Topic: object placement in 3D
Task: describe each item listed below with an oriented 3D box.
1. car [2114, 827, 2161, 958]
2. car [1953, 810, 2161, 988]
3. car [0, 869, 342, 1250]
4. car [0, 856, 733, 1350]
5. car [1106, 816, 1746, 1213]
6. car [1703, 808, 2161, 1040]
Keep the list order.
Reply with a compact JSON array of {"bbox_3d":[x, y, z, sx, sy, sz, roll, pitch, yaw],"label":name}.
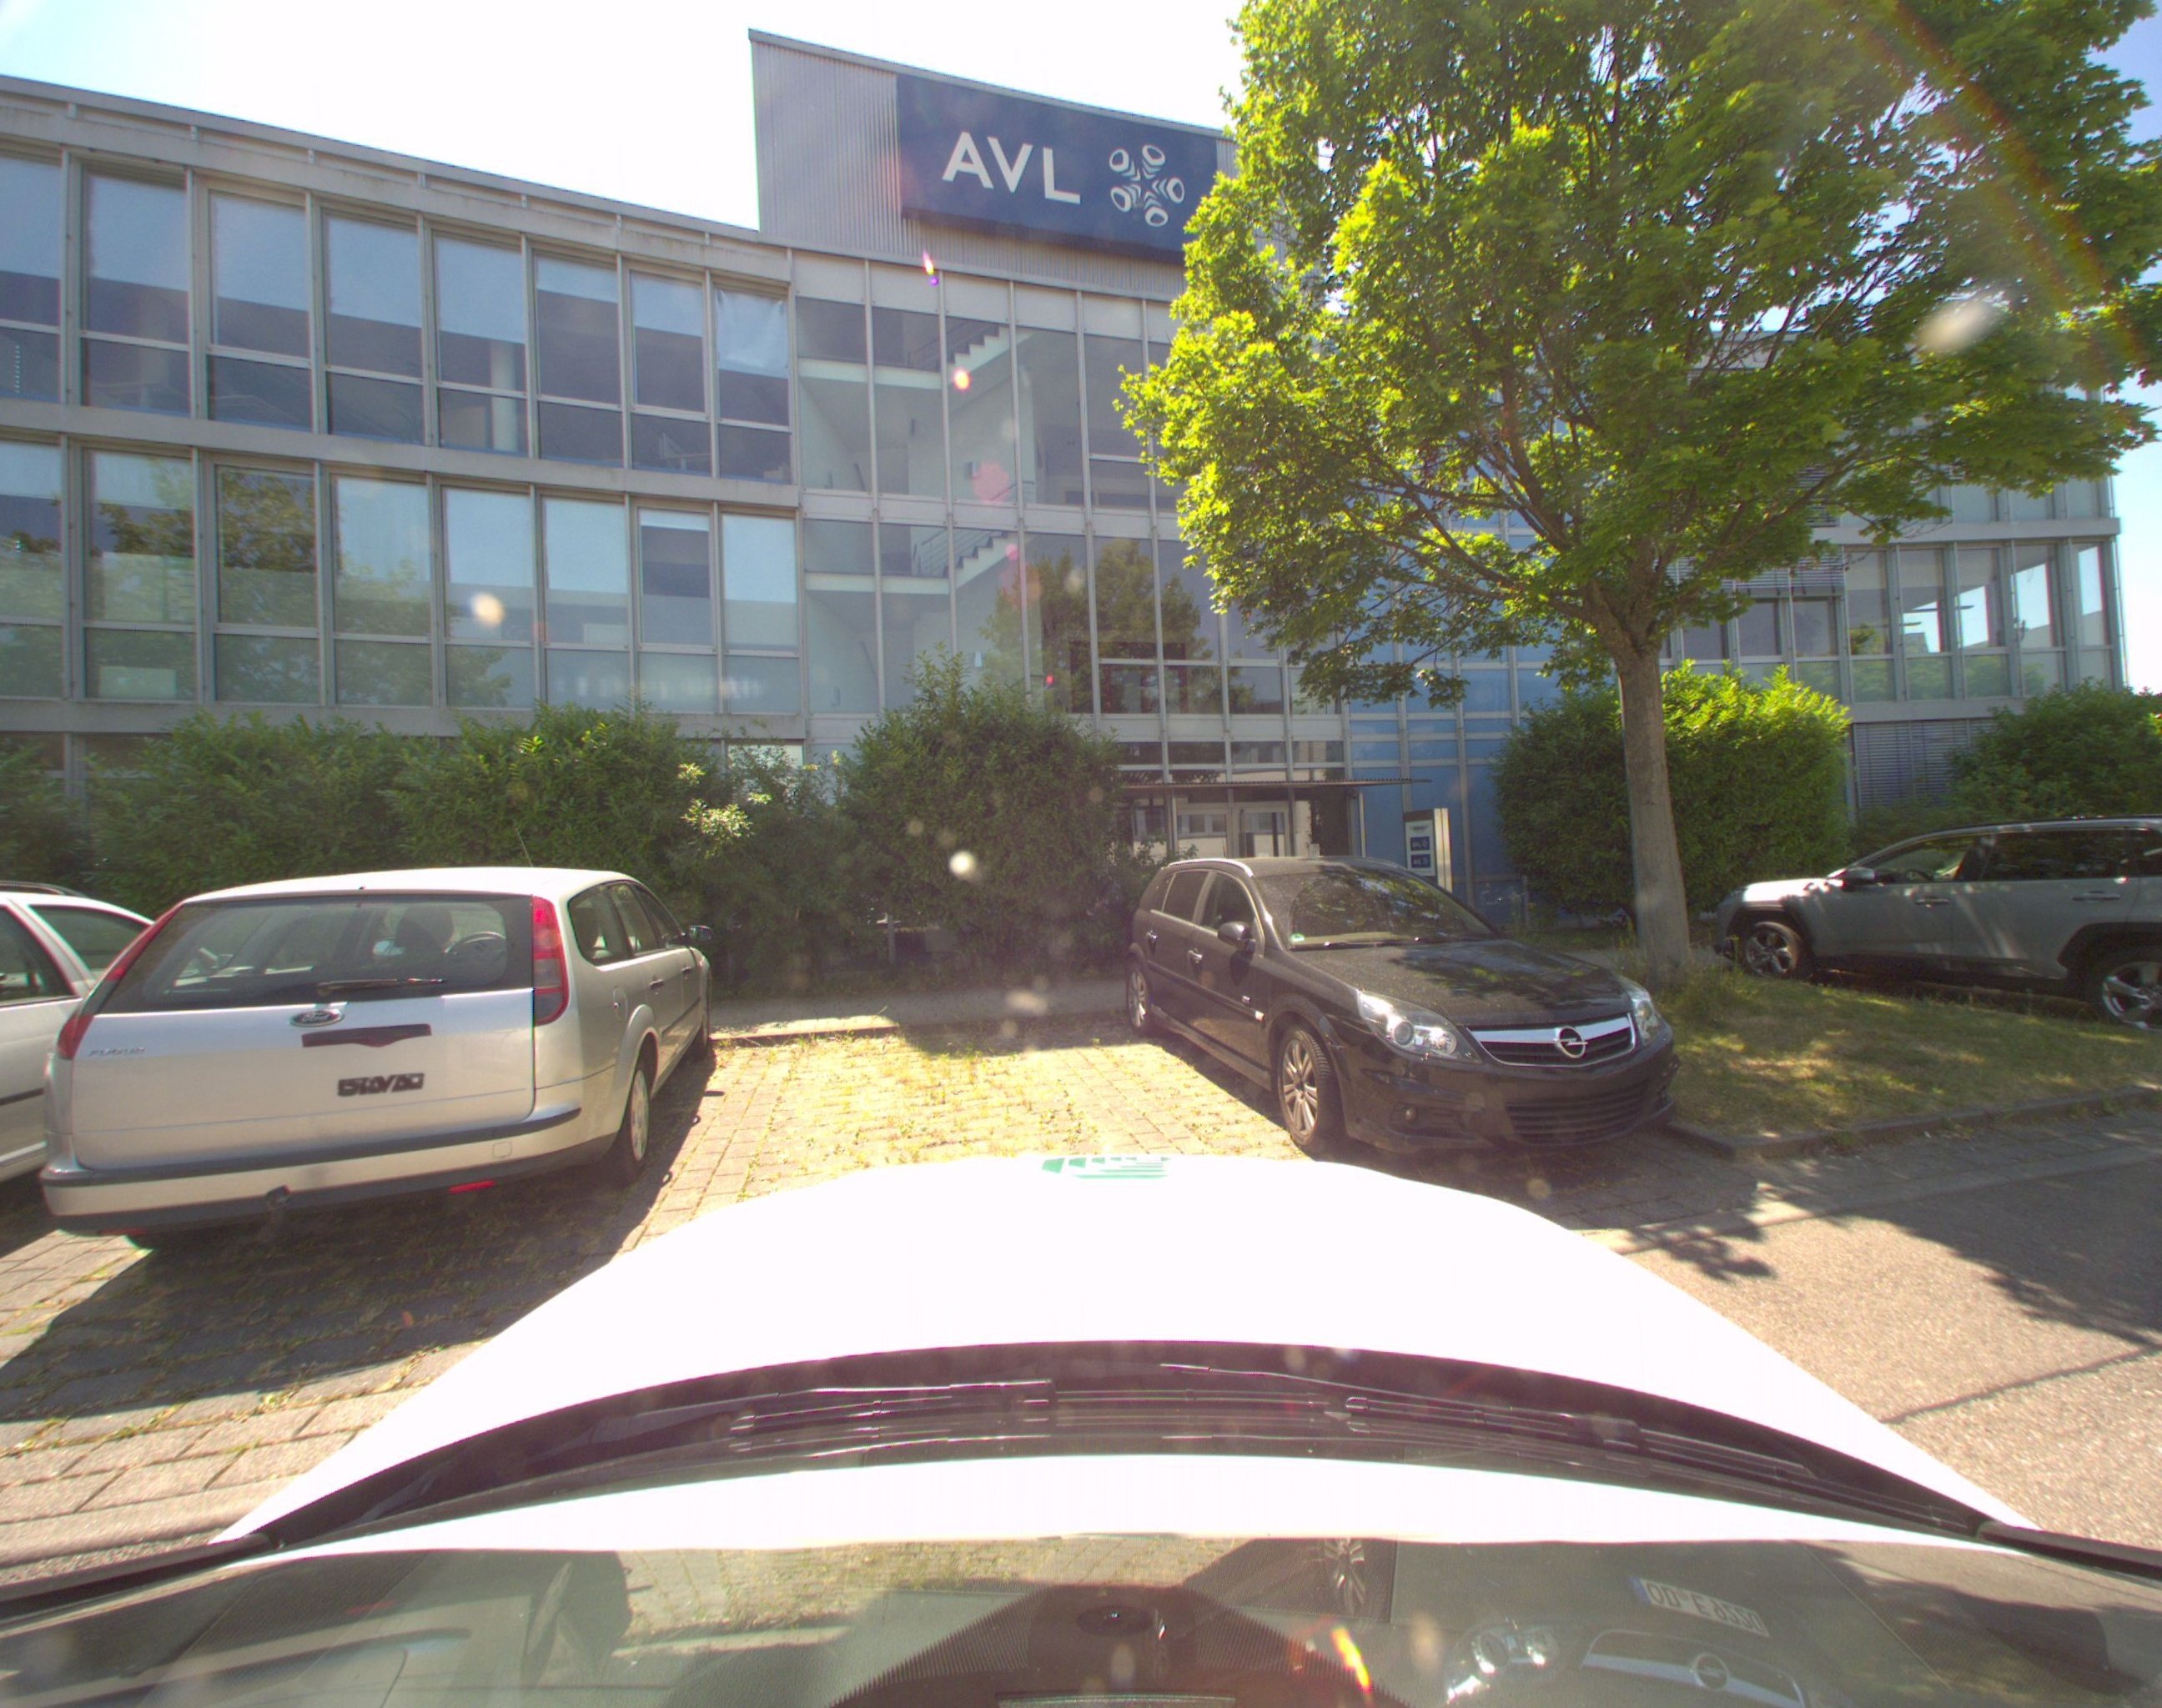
[{"bbox_3d":[13.385,0.425,7.723,1.656,1.486,4.163,-1,0,-10],"label":"car"},{"bbox_3d":[10.903,0.406,7.168,1.656,1.643,4.188,-1,0,-10],"label":"car"},{"bbox_3d":[-5.205,0.823,3.493,1.653,1.479,3.865,-1,-1,-20],"label":"car"},{"bbox_3d":[-3.242,0.804,4.789,1.723,1.479,4.323,-1,-1,-17],"label":"car"},{"bbox_3d":[1.590,0.663,5.635,1.760,1.549,4.545,-1,-1,-12],"label":"car"},{"bbox_3d":[8.309,0.478,7.235,1.852,1.643,4.317,-1,0,-10],"label":"car"}]
